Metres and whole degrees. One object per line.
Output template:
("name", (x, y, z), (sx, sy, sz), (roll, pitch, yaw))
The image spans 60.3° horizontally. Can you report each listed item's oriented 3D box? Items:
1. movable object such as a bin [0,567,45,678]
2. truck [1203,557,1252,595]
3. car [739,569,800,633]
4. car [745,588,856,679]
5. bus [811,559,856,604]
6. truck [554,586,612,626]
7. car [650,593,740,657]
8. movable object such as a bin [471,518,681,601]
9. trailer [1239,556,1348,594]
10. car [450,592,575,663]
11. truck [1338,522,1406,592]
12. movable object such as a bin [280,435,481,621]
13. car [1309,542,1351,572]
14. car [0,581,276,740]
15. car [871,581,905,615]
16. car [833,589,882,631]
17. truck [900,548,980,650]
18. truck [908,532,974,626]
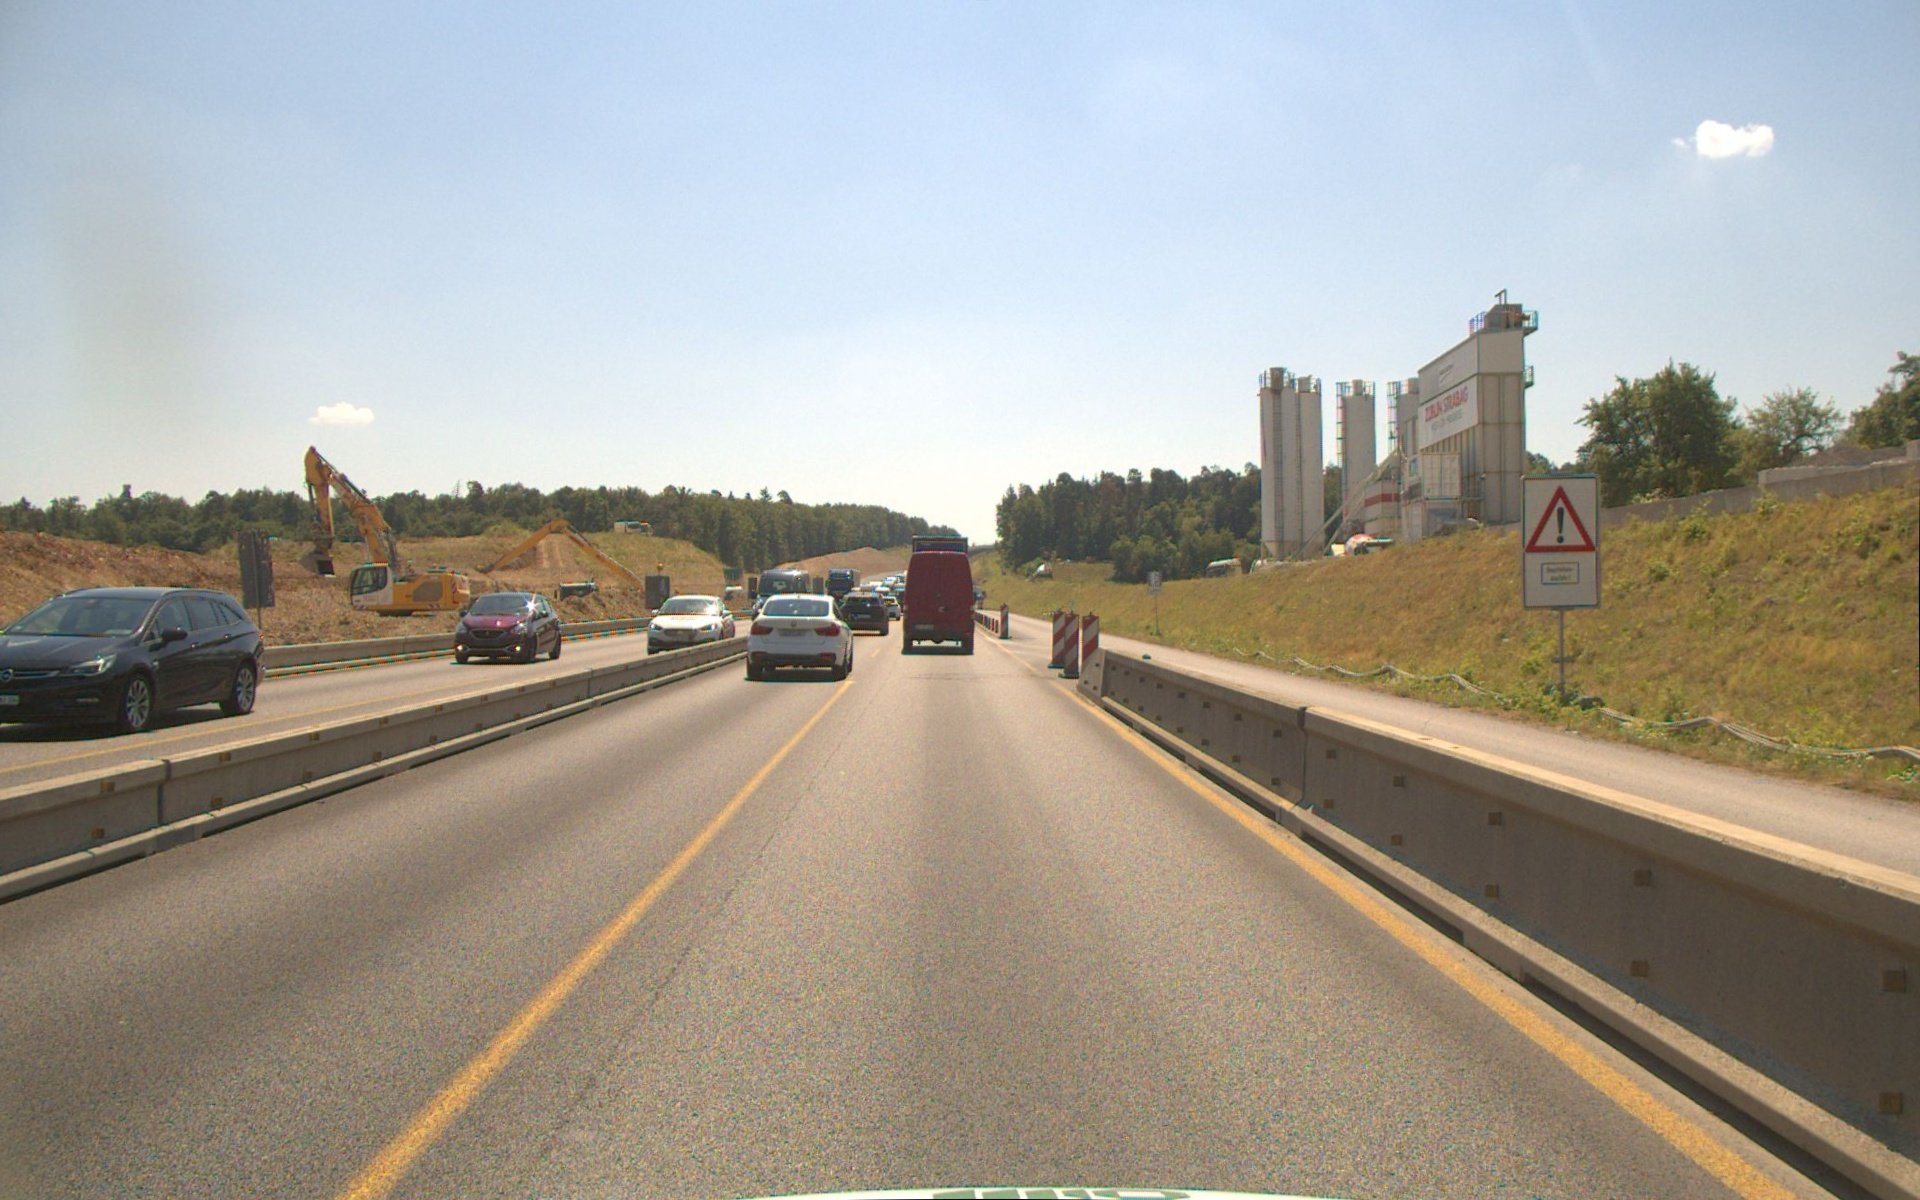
("movable object such as a bin", (-22.442, 0.526, 35.759), (1.667, 2.504, 6.743), (0, 0, -1))
("truck", (23.235, -2.038, 143.304), (2.837, 3.167, 6.010), (0, 0, 23))
("car", (-7.673, 0.029, 67.188), (1.916, 2.511, 5.356), (0, 0, -1))
("car", (-2.942, 0.585, 31.455), (1.759, 1.561, 5.071), (1, 0, -2))
("bus", (-13.174, -1.895, 174.186), (3.863, 4.492, 17.194), (0, 0, -2))
("truck", (-26.380, 0.370, 116.079), (2.268, 2.663, 8.409), (0, 0, -1))
("car", (-6.510, 0.577, 41.061), (1.644, 1.467, 4.669), (0, 0, -2))
("movable object such as a bin", (-34.952, -3.667, 151.216), (18.337, 7.358, 3.614), (0, 0, -3))
("trailer", (29.213, -2.197, 145.038), (8.849, 3.286, 3.317), (0, 0, -16))
("car", (-9.742, 0.558, 36.318), (1.618, 1.467, 4.226), (0, 0, -1))
("truck", (26.968, -2.718, 108.699), (3.362, 4.371, 9.935), (0, 0, 9))
("movable object such as a bin", (-25.164, -3.081, 72.121), (7.480, 7.848, 3.446), (0, 0, 0))
("car", (26.256, -3.048, 117.493), (1.953, 2.049, 4.427), (0, 0, -1))
("car", (-9.365, 0.577, 18.213), (1.822, 1.527, 4.575), (0, 0, -1))
("car", (-4.330, -0.124, 100.048), (1.953, 2.049, 4.000), (0, 0, -1))
("car", (-3.881, 0.354, 63.167), (1.759, 1.561, 3.930), (0, 0, -2))
("truck", (-0.538, -0.046, 46.801), (2.068, 2.679, 6.484), (0, 0, 0))
("truck", (-0.859, -0.972, 78.857), (2.954, 4.225, 8.271), (0, 0, 0))
